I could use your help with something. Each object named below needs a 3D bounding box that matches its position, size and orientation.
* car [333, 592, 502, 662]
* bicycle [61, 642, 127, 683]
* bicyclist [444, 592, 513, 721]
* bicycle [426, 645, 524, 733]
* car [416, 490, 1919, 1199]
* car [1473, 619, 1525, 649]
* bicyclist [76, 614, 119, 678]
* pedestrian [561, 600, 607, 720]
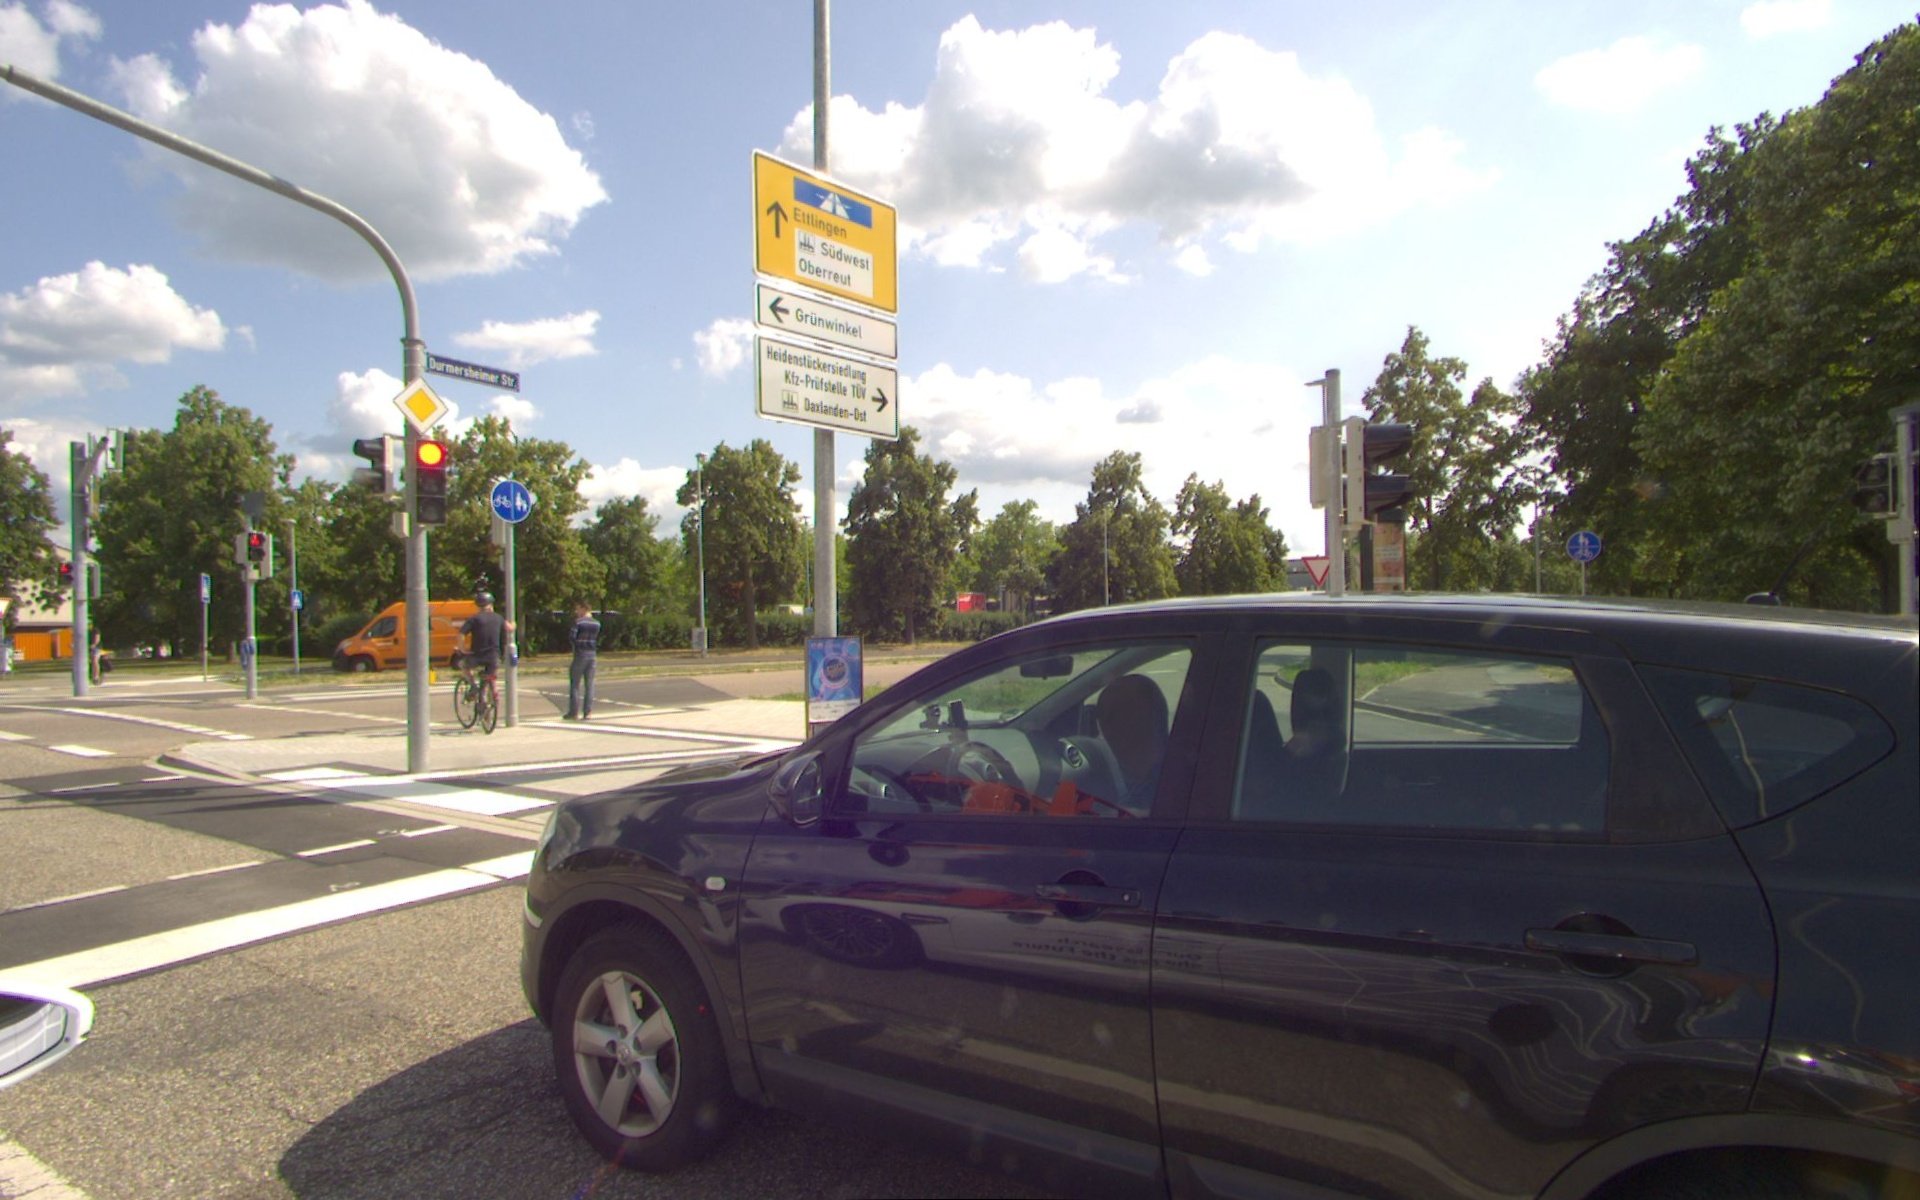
[{"bbox_3d":[-18.388,0.995,34.263,4.780,2.253,2.207,2,-3,-22],"label":"car"},{"bbox_3d":[-25.118,1.790,29.077,0.673,1.107,2.001,0,-2,-16],"label":"bicycle"},{"bbox_3d":[-6.511,0.762,13.550,0.644,1.682,0.644,3,-3,-44],"label":"bicyclist"},{"bbox_3d":[-6.646,1.186,13.674,0.644,1.121,1.910,3,-4,-43],"label":"bicycle"},{"bbox_3d":[0.490,0.724,2.844,3.941,1.571,1.798,-2,-4,31],"label":"car"},{"bbox_3d":[22.973,1.479,42.755,1.886,1.192,3.767,-1,-4,27],"label":"car"},{"bbox_3d":[-25.146,1.328,29.189,0.674,1.827,0.788,0,-1,-17],"label":"bicyclist"},{"bbox_3d":[-5.730,0.913,15.277,0.477,1.800,0.462,-2,-3,42],"label":"pedestrian"}]
